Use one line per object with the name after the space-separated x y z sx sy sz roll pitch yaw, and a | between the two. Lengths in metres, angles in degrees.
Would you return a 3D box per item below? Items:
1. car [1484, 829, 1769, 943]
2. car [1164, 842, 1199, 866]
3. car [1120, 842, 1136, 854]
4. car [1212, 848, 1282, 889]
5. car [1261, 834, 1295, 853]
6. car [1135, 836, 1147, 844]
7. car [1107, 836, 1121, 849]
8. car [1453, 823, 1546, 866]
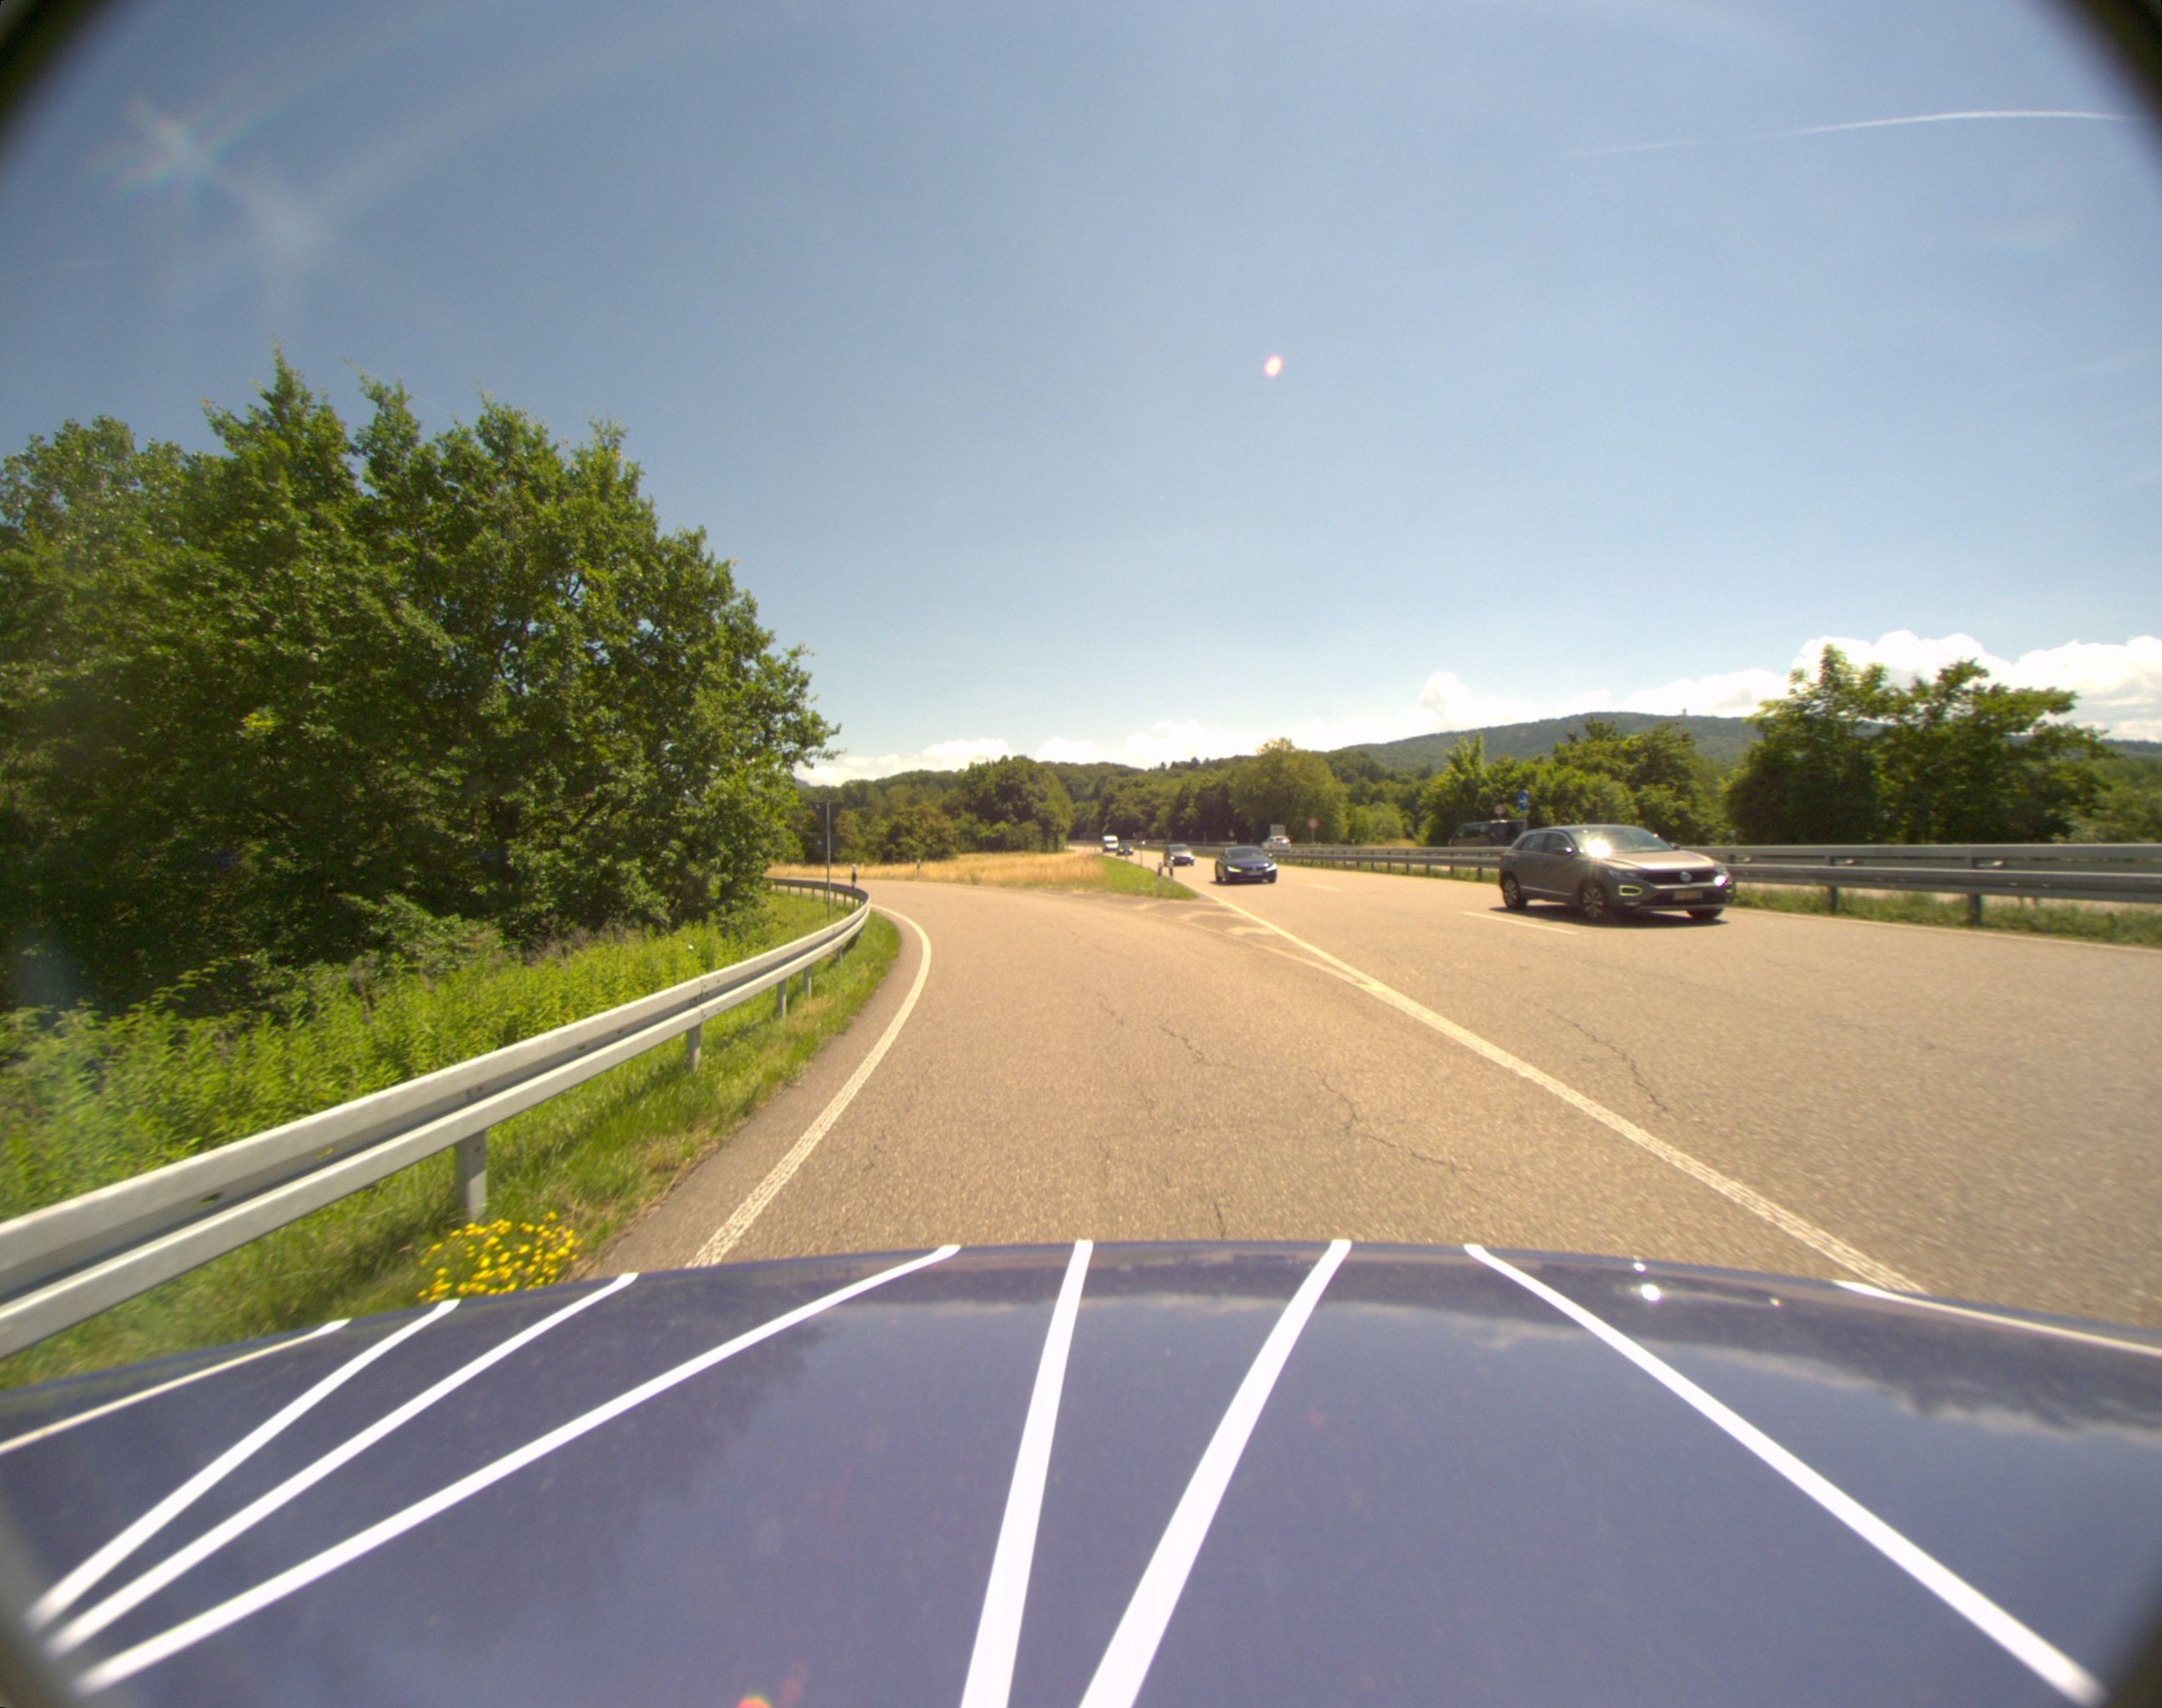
8.904 0.428 12.997 1.845 1.521 4.470 -3 1 4 | car
7.394 0.007 56.387 1.798 1.658 4.553 -2 1 -2 | car
5.866 -0.737 95.718 1.845 1.400 4.469 -2 1 3 | car
6.402 0.515 29.774 1.845 1.400 4.470 -3 1 2 | car
20.469 -1.120 79.171 1.999 1.882 4.909 -2 2 -3 | car
13.028 -3.033 165.024 1.936 1.741 4.908 -2 2 -4 | car
5.107 -1.823 118.114 2.008 1.988 4.578 -3 2 1 | car
20.348 -0.542 37.196 2.208 1.882 4.912 -2 2 6 | car
